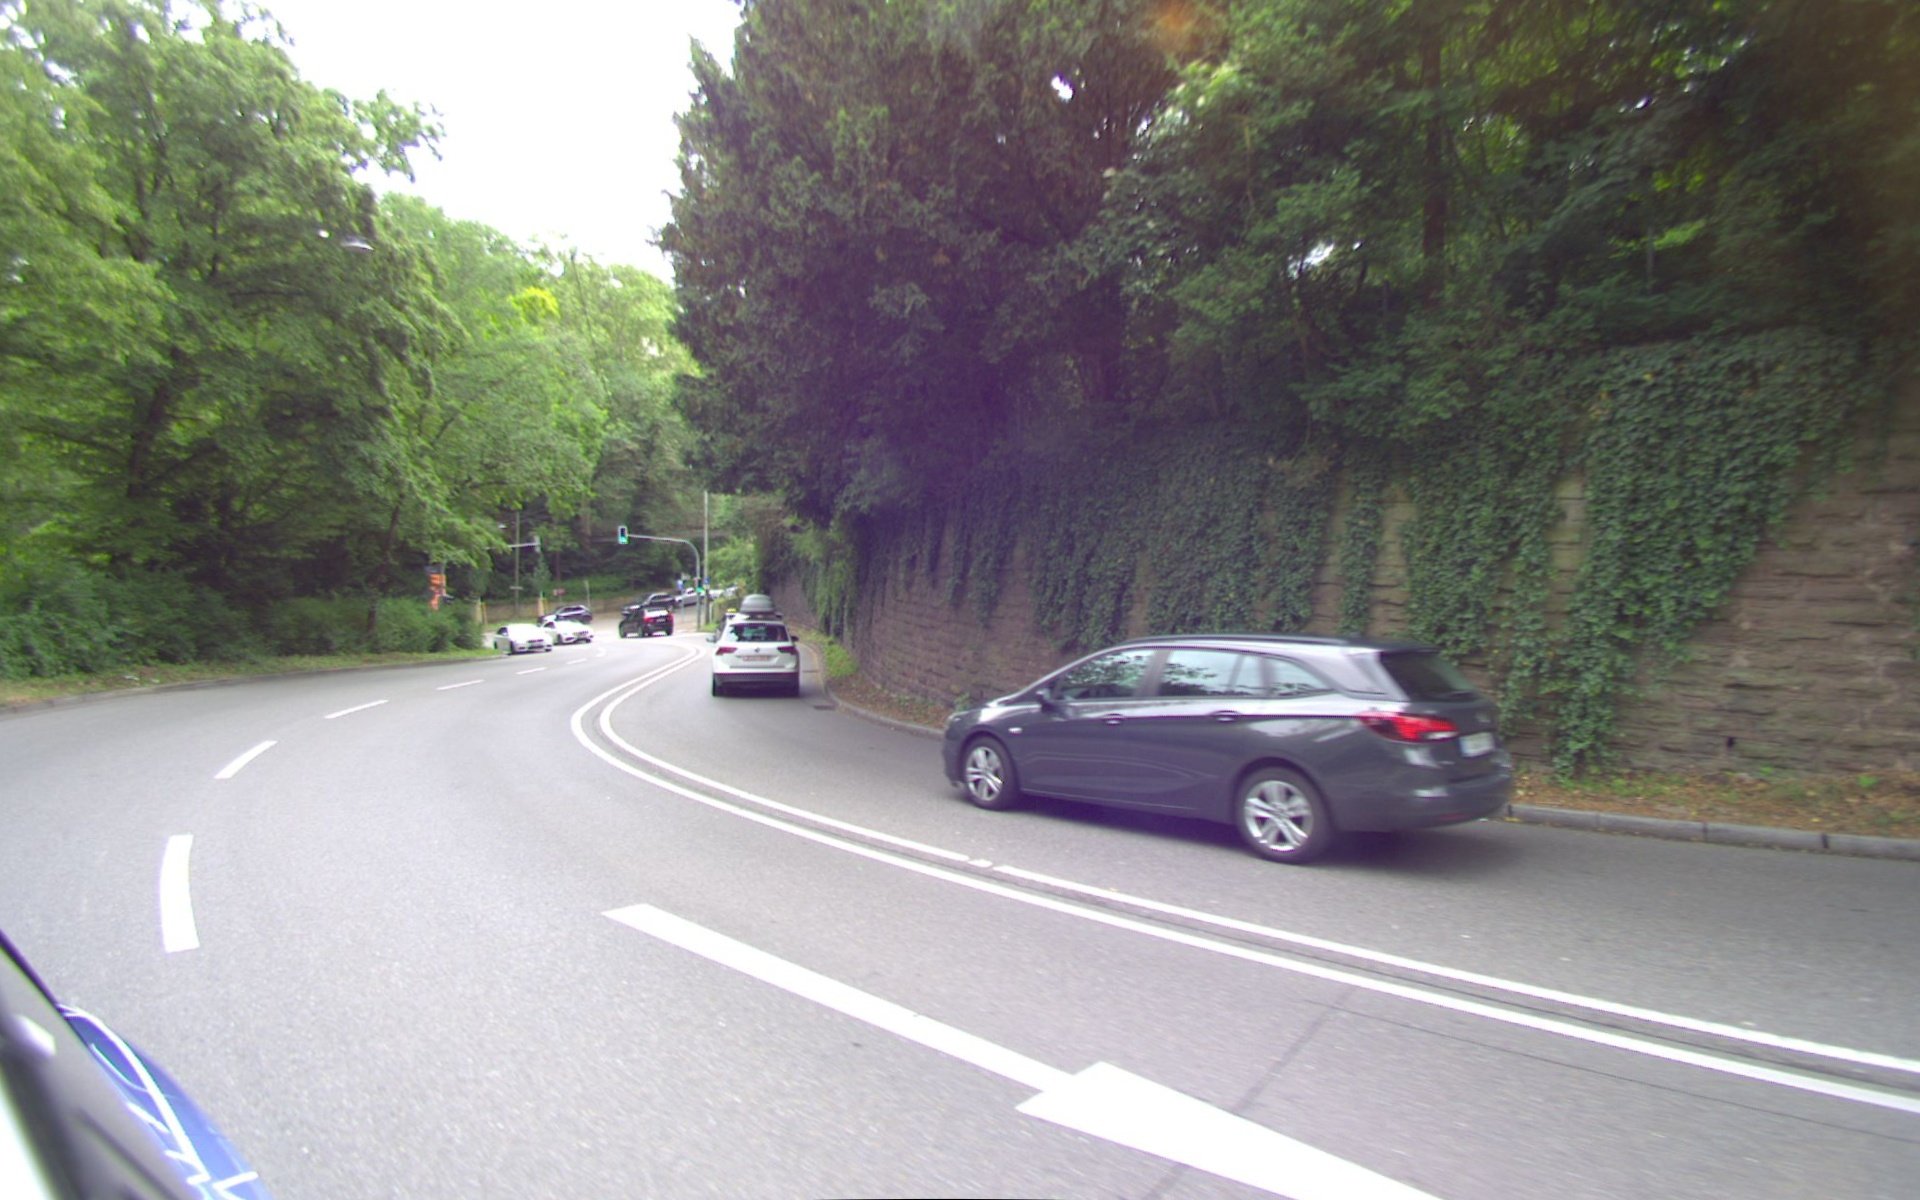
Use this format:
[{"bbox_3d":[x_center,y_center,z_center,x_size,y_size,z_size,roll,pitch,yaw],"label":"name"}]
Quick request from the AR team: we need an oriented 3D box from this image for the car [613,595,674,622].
[{"bbox_3d":[-25.093,0.679,80.361,1.800,1.696,4.500,-1,5,29],"label":"car"}]

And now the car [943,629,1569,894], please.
[{"bbox_3d":[1.966,0.962,7.685,4.296,1.451,1.639,-2,-3,44],"label":"car"}]

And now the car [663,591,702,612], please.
[{"bbox_3d":[-24.114,0.118,87.992,1.497,1.457,3.241,1,7,24],"label":"car"}]

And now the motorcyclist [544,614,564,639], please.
[{"bbox_3d":[-25.669,1.682,63.979,1.094,1.541,0.739,0,-1,41],"label":"motorcyclist"}]

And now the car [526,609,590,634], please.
[{"bbox_3d":[-29.521,1.561,74.331,1.754,1.368,3.944,0,6,44],"label":"car"}]

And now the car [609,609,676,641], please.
[{"bbox_3d":[-18.305,1.434,58.219,1.828,1.661,4.515,-4,2,-43],"label":"car"}]

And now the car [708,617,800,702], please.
[{"bbox_3d":[-4.565,1.226,22.057,1.745,1.665,4.398,1,-2,-14],"label":"car"}]

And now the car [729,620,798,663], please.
[{"bbox_3d":[-6.578,1.372,34.252,1.750,1.349,3.963,1,-2,-3],"label":"car"}]

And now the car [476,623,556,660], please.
[{"bbox_3d":[-21.912,2.064,49.832,4.526,1.563,1.891,-4,0,43],"label":"car"}]

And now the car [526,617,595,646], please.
[{"bbox_3d":[-22.583,1.766,57.160,4.527,1.489,1.891,-2,1,44],"label":"car"}]

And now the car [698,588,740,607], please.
[{"bbox_3d":[-22.093,-0.255,92.879,1.620,1.338,3.991,2,6,25],"label":"car"}]

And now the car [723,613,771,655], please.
[{"bbox_3d":[-9.241,1.420,44.224,1.838,1.609,4.639,-2,0,-9],"label":"car"}]
